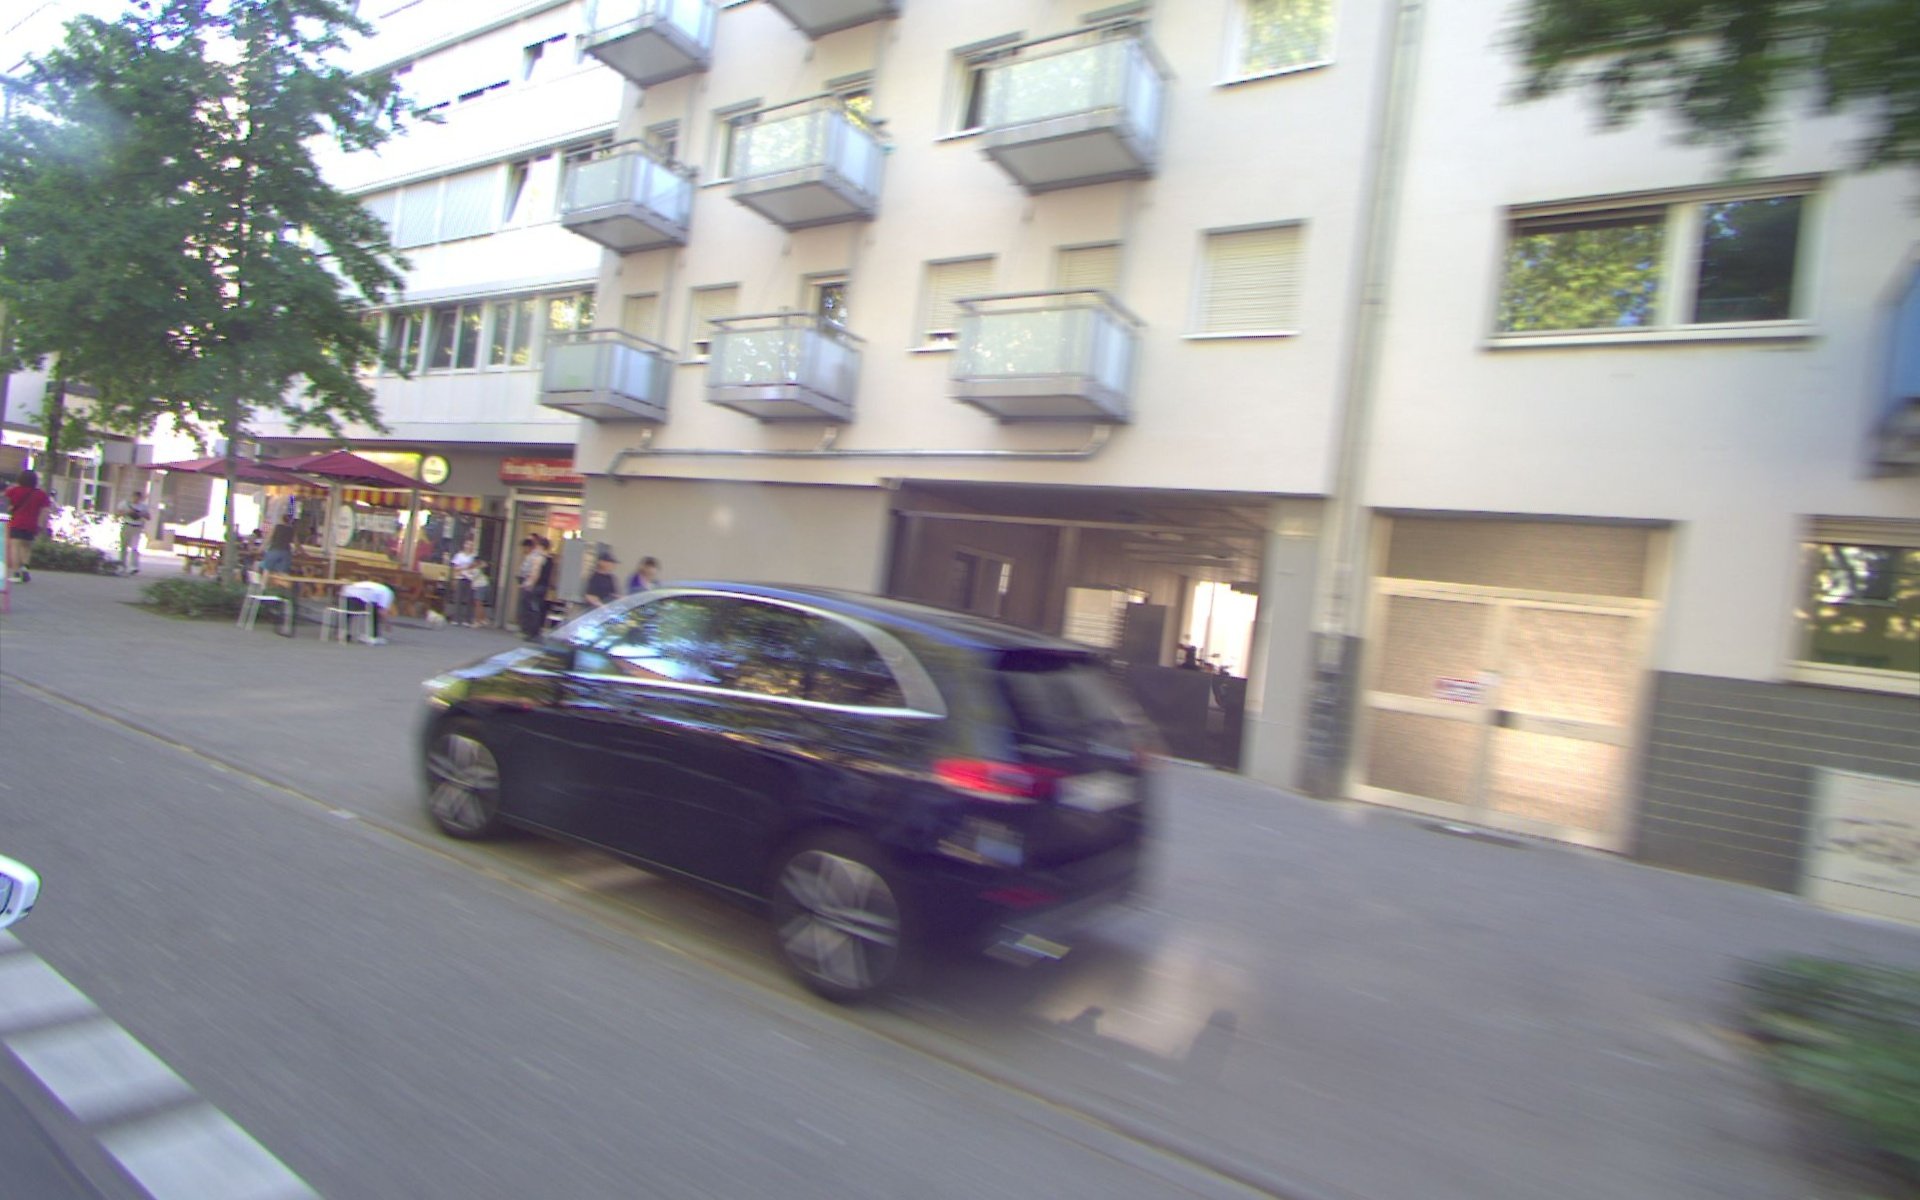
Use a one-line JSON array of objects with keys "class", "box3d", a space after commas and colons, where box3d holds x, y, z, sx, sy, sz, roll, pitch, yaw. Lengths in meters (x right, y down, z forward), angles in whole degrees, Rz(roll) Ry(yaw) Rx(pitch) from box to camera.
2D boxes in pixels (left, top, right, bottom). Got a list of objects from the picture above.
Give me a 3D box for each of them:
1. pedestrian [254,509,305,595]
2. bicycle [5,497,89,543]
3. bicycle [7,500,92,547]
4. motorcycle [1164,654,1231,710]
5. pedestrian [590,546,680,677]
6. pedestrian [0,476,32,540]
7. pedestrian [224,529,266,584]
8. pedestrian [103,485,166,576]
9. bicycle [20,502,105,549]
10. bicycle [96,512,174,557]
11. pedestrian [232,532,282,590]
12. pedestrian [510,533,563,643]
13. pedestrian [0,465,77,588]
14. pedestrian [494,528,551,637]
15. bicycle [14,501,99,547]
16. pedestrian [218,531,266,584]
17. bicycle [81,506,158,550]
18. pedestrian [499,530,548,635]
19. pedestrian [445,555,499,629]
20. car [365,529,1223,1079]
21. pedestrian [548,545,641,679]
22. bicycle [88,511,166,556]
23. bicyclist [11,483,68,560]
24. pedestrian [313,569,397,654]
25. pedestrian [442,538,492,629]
[{"class": "pedestrian", "box3d": [-14.137, -0.993, 20.896, 0.674, 1.678, 0.806, 8, -1, -38]}, {"class": "bicycle", "box3d": [-30.201, -2.647, 33.296, 0.502, 1.222, 1.917, 8, 0, 29]}, {"class": "bicycle", "box3d": [-29.785, -2.495, 32.957, 0.502, 1.222, 1.917, 8, 0, 29]}, {"class": "motorcycle", "box3d": [5.312, 1.849, 22.397, 0.705, 1.089, 2.415, 7, -2, 30]}, {"class": "pedestrian", "box3d": [-4.516, 0.161, 13.968, 0.919, 1.700, 0.596, 7, 2, 31]}, {"class": "pedestrian", "box3d": [-24.802, -2.393, 26.303, 0.635, 1.580, 0.551, 5, -2, 37]}, {"class": "pedestrian", "box3d": [-18.346, -1.112, 25.805, 0.704, 1.302, 0.536, 7, -1, 35]}, {"class": "pedestrian", "box3d": [-17.756, -1.495, 21.640, 0.979, 1.805, 0.591, 7, -1, 32]}, {"class": "bicycle", "box3d": [-28.885, -2.381, 32.411, 0.502, 1.222, 1.917, 8, 0, 29]}, {"class": "bicycle", "box3d": [-28.326, -2.242, 34.571, 0.502, 1.222, 1.918, 9, -1, 29]}, {"class": "pedestrian", "box3d": [-15.745, -0.877, 22.538, 0.513, 1.189, 0.660, 7, -1, 31]}, {"class": "pedestrian", "box3d": [-7.258, -0.203, 17.252, 0.481, 1.817, 0.432, 7, -1, 32]}, {"class": "pedestrian", "box3d": [-14.714, -1.147, 15.820, 0.869, 1.778, 1.040, 8, -1, -30]}, {"class": "pedestrian", "box3d": [-8.357, -0.344, 19.206, 0.781, 1.977, 0.505, 6, -1, 43]}, {"class": "bicycle", "box3d": [-29.337, -2.452, 32.686, 0.502, 1.222, 1.917, 8, 0, 29]}, {"class": "pedestrian", "box3d": [-16.439, -0.966, 23.033, 0.513, 1.091, 0.643, 7, -1, 31]}, {"class": "bicycle", "box3d": [-29.387, -2.490, 35.200, 0.502, 1.221, 1.919, 6, -2, 29]}, {"class": "pedestrian", "box3d": [-7.958, -0.307, 18.360, 0.518, 1.826, 0.630, 7, -1, -14]}, {"class": "pedestrian", "box3d": [-9.237, -0.141, 19.051, 0.615, 1.291, 0.509, 7, -1, -4]}, {"class": "car", "box3d": [-1.062, 0.630, 5.250, 4.258, 1.609, 1.758, 7, 3, 33]}, {"class": "pedestrian", "box3d": [-4.854, 0.161, 13.361, 0.855, 1.659, 0.642, 7, 2, 31]}, {"class": "bicycle", "box3d": [-28.847, -2.285, 34.866, 0.502, 1.221, 1.919, 7, -2, 29]}, {"class": "bicyclist", "box3d": [-22.187, -1.894, 24.253, 0.950, 1.737, 0.677, 7, -1, 36]}, {"class": "pedestrian", "box3d": [-8.250, 0.150, 13.762, 0.651, 1.039, 0.998, 8, -1, -18]}, {"class": "pedestrian", "box3d": [-9.321, -0.306, 19.046, 0.509, 1.647, 0.507, 7, -1, -4]}]
